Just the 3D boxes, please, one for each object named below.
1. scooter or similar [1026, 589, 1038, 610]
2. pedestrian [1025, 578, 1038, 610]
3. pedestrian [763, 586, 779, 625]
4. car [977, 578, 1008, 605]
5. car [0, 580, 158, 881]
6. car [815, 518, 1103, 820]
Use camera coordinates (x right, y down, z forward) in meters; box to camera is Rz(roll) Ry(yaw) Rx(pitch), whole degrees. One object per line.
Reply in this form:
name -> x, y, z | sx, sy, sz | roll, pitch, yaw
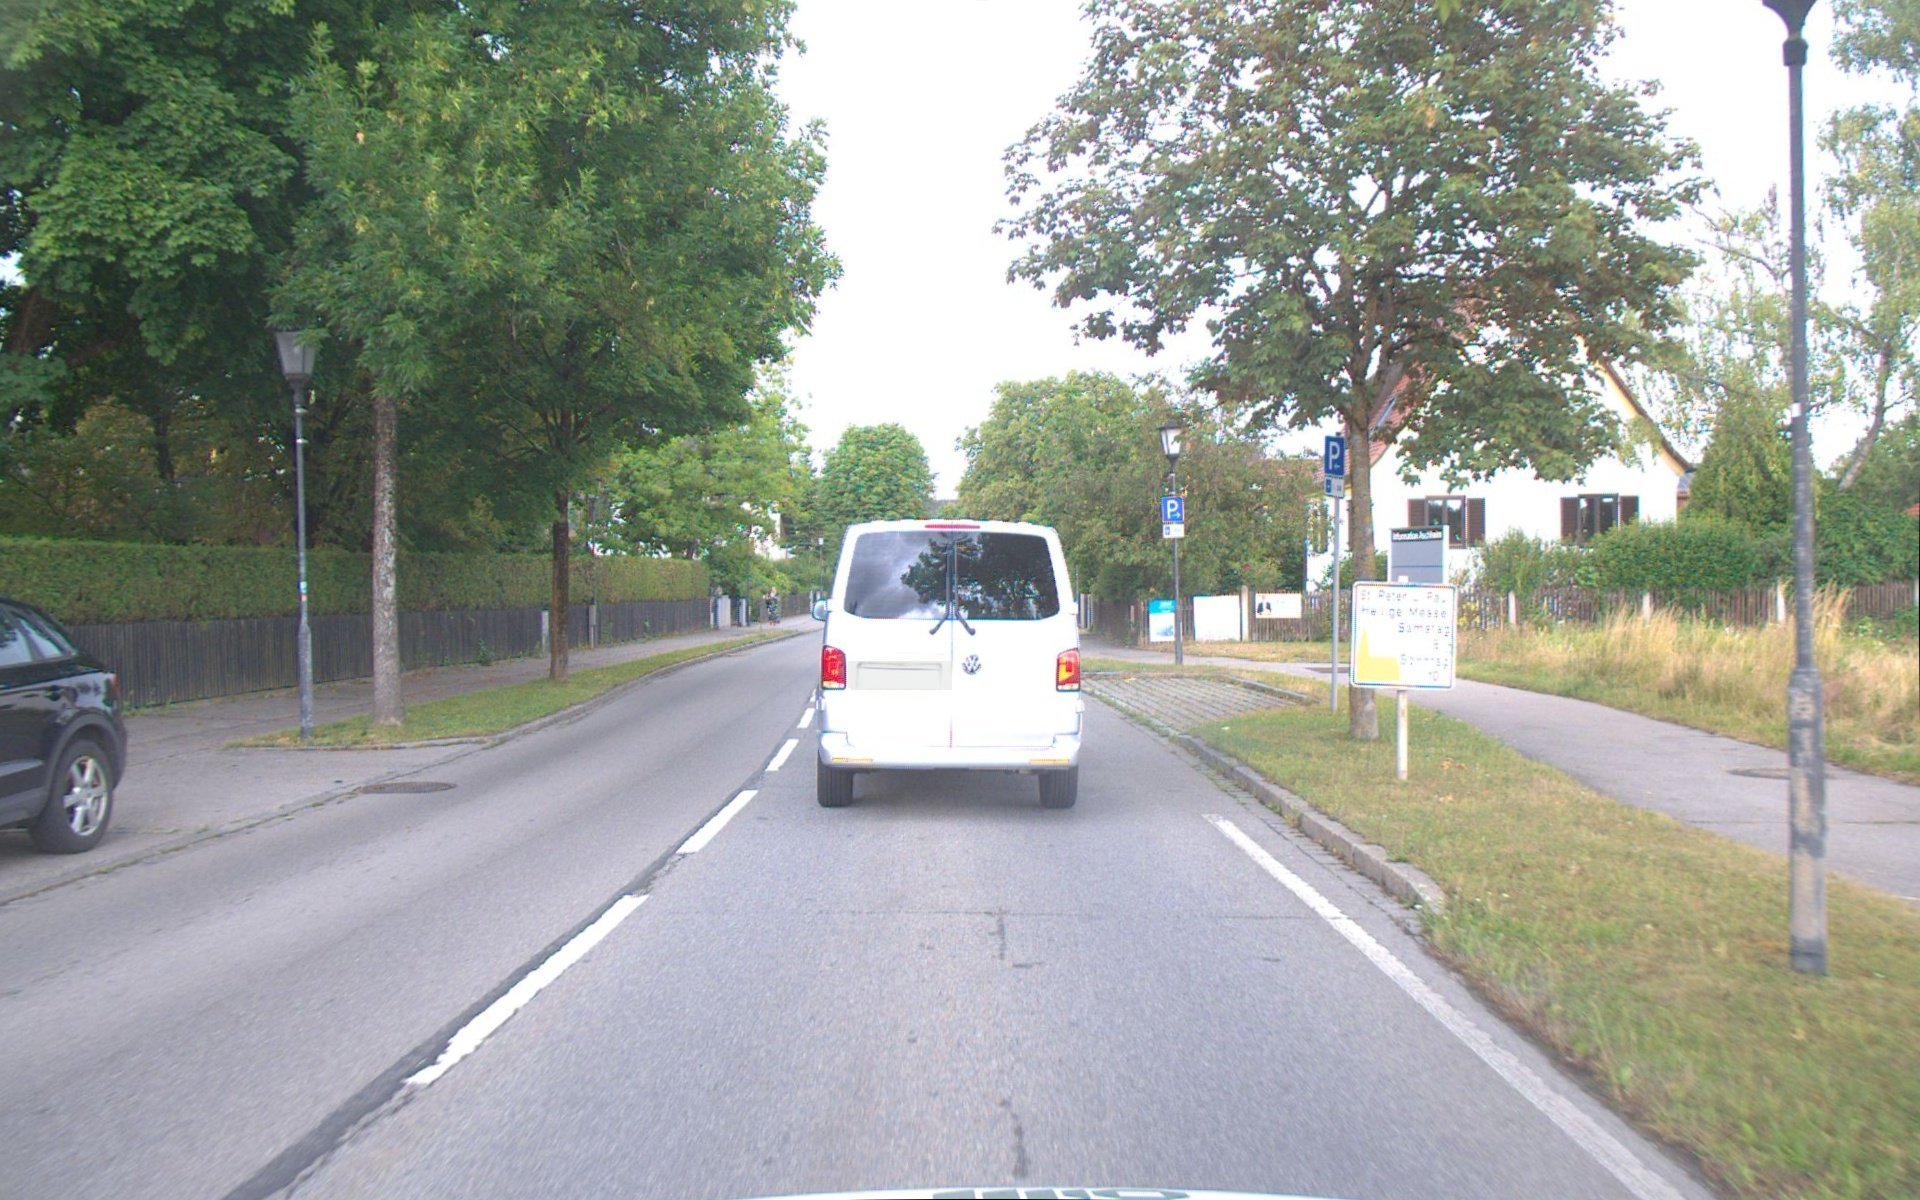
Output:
scooter or similar -> 3.497, -0.016, 80.194 | 0.541, 0.988, 0.620 | 1, 0, -3
pedestrian -> 3.490, -0.289, 80.925 | 0.541, 1.576, 0.611 | 1, 0, -3
pedestrian -> -7.783, 0.237, 68.064 | 0.610, 1.576, 0.522 | 1, 0, -3
car -> 2.544, -0.668, 129.267 | 1.951, 2.049, 4.003 | -1, 0, 7
car -> -6.090, 0.719, 8.590 | 1.735, 1.626, 4.238 | 0, 1, 1
car -> -0.002, 0.435, 12.655 | 1.849, 1.945, 4.000 | 0, 0, 0
